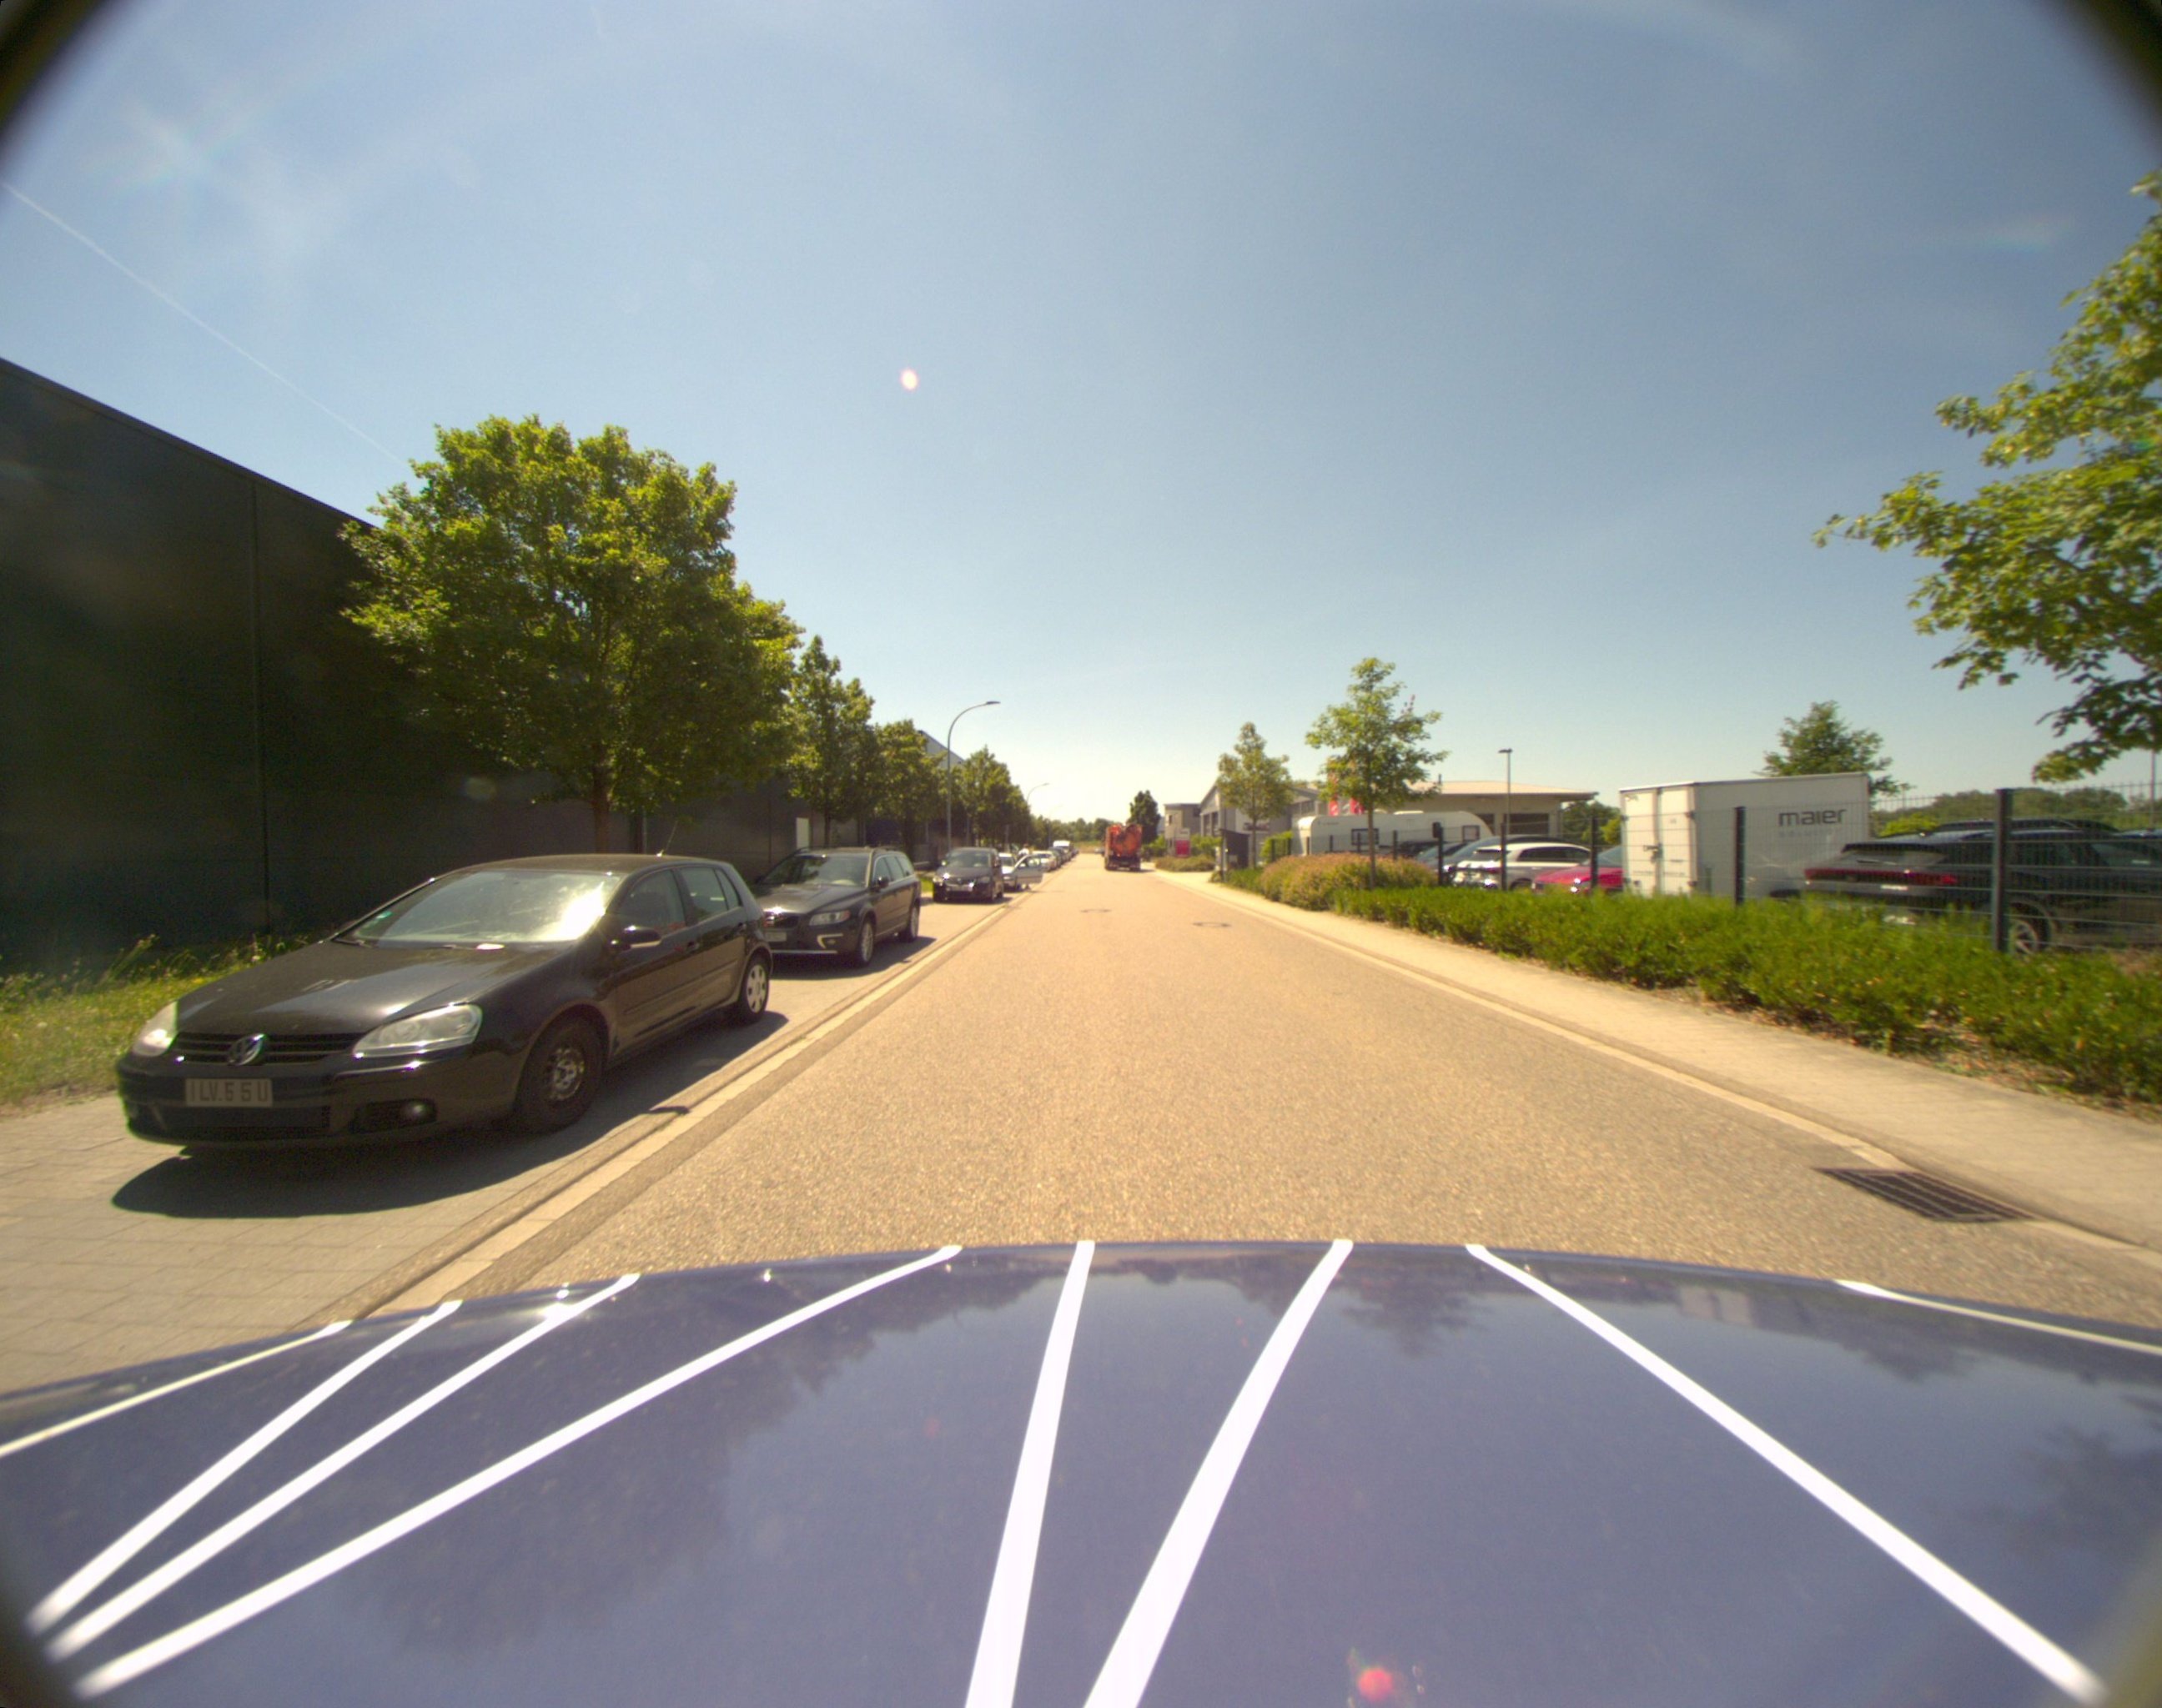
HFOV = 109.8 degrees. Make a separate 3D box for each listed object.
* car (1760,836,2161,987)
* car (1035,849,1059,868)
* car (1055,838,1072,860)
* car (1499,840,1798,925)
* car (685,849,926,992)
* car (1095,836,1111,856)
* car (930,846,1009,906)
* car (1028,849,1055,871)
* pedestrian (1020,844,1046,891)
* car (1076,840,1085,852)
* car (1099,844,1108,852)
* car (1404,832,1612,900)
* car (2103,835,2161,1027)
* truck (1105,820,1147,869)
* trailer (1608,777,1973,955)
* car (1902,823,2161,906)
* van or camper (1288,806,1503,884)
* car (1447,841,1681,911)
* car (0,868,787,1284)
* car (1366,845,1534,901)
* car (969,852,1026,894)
[{"bbox_3d":[11.049,0.577,8.788,4.558,1.527,2.000,-1,1,1],"label":"car"},{"bbox_3d":[-2.681,0.335,60.203,1.736,1.501,3.844,0,1,0],"label":"car"},{"bbox_3d":[-2.178,-0.668,94.875,2.060,2.683,4.834,0,1,0],"label":"car"},{"bbox_3d":[10.591,0.501,14.437,4.217,1.444,1.999,-1,1,-1],"label":"car"},{"bbox_3d":[-3.679,0.759,11.169,1.812,1.608,4.714,1,1,0],"label":"car"},{"bbox_3d":[3.618,-1.344,127.428,2.600,3.213,6.221,0,1,1],"label":"car"},{"bbox_3d":[-3.313,0.590,23.359,1.742,1.660,4.367,1,1,0],"label":"car"},{"bbox_3d":[-2.837,0.403,55.090,1.736,1.501,3.665,1,1,0],"label":"car"},{"bbox_3d":[-1.890,0.519,29.743,0.722,1.799,0.703,-2,1,-37],"label":"pedestrian"},{"bbox_3d":[-0.133,-1.729,172.124,2.060,2.683,4.834,0,1,0],"label":"car"},{"bbox_3d":[5.245,-1.420,179.540,1.868,1.674,4.222,0,1,-1],"label":"car"},{"bbox_3d":[11.096,0.285,19.901,4.522,1.656,1.776,-1,1,-5],"label":"car"},{"bbox_3d":[10.985,0.592,5.361,4.744,1.527,2.000,-1,1,1],"label":"car"},{"bbox_3d":[3.351,-0.735,59.552,2.606,3.524,10.499,1,1,0],"label":"truck"},{"bbox_3d":[10.607,0.152,11.554,3.998,2.346,1.726,-2,1,-2],"label":"trailer"},{"bbox_3d":[22.040,0.211,17.549,3.997,1.761,2.000,-1,1,-1],"label":"car"},{"bbox_3d":[11.294,-0.326,27.744,6.792,2.668,2.575,0,1,1],"label":"van or camper"},{"bbox_3d":[10.796,0.462,17.185,4.218,1.444,1.776,-1,1,-2],"label":"car"},{"bbox_3d":[-3.648,0.902,5.070,1.696,1.468,4.268,1,1,0],"label":"car"},{"bbox_3d":[11.711,0.573,24.291,4.520,1.656,1.777,-1,1,0],"label":"car"},{"bbox_3d":[-3.172,0.697,29.489,1.711,1.449,4.188,1,1,0],"label":"car"}]
